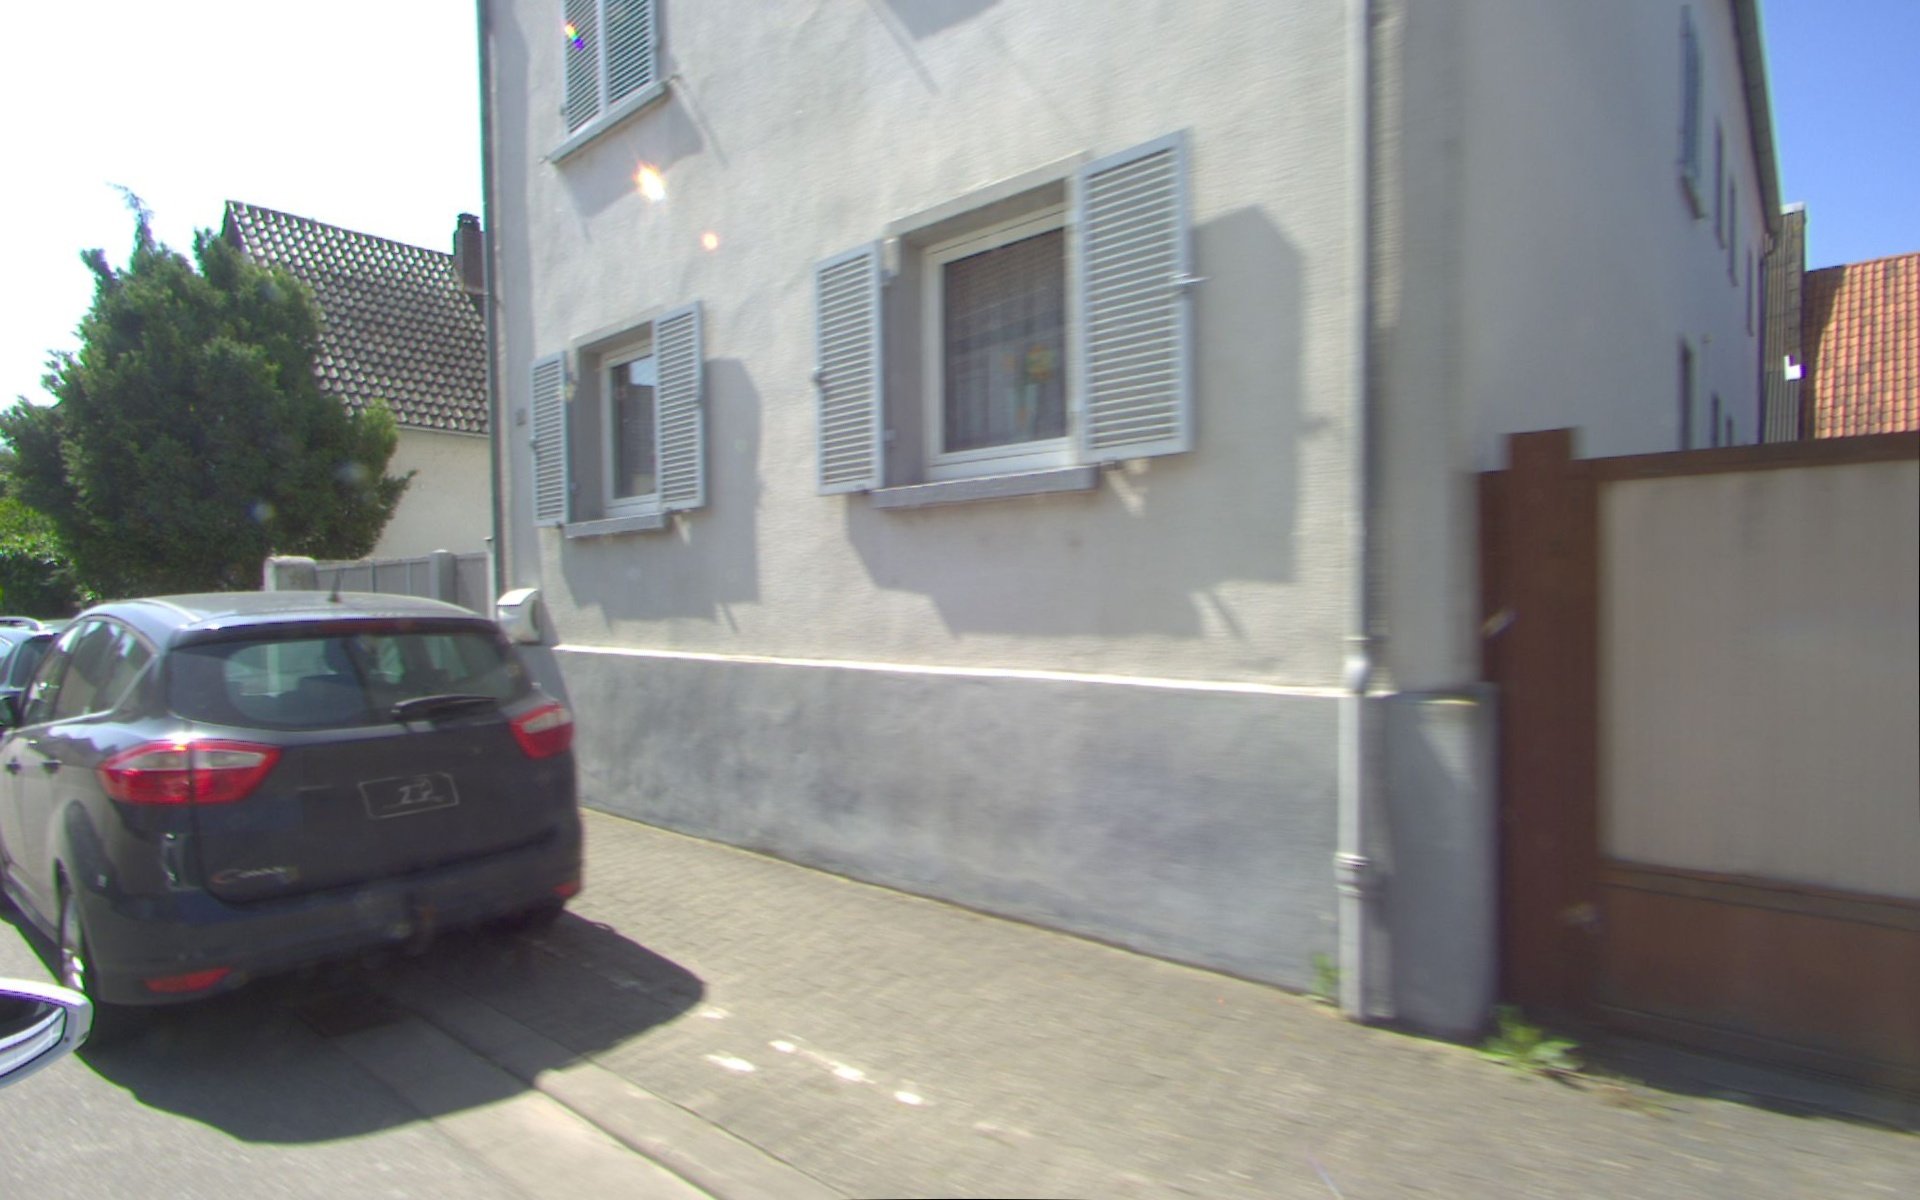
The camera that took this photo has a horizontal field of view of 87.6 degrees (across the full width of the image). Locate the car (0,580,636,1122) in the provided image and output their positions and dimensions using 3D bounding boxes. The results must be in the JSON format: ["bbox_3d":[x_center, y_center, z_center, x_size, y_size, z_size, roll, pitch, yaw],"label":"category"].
[{"bbox_3d":[-3.692,0.748,5.102,4.578,1.581,1.788,-1,0,41],"label":"car"}]

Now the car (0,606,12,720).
[{"bbox_3d":[-16.149,0.939,15.499,4.311,1.653,1.784,0,1,42],"label":"car"}]

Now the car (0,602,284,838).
[{"bbox_3d":[-7.608,0.818,8.553,4.526,1.528,1.811,-1,0,39],"label":"car"}]
